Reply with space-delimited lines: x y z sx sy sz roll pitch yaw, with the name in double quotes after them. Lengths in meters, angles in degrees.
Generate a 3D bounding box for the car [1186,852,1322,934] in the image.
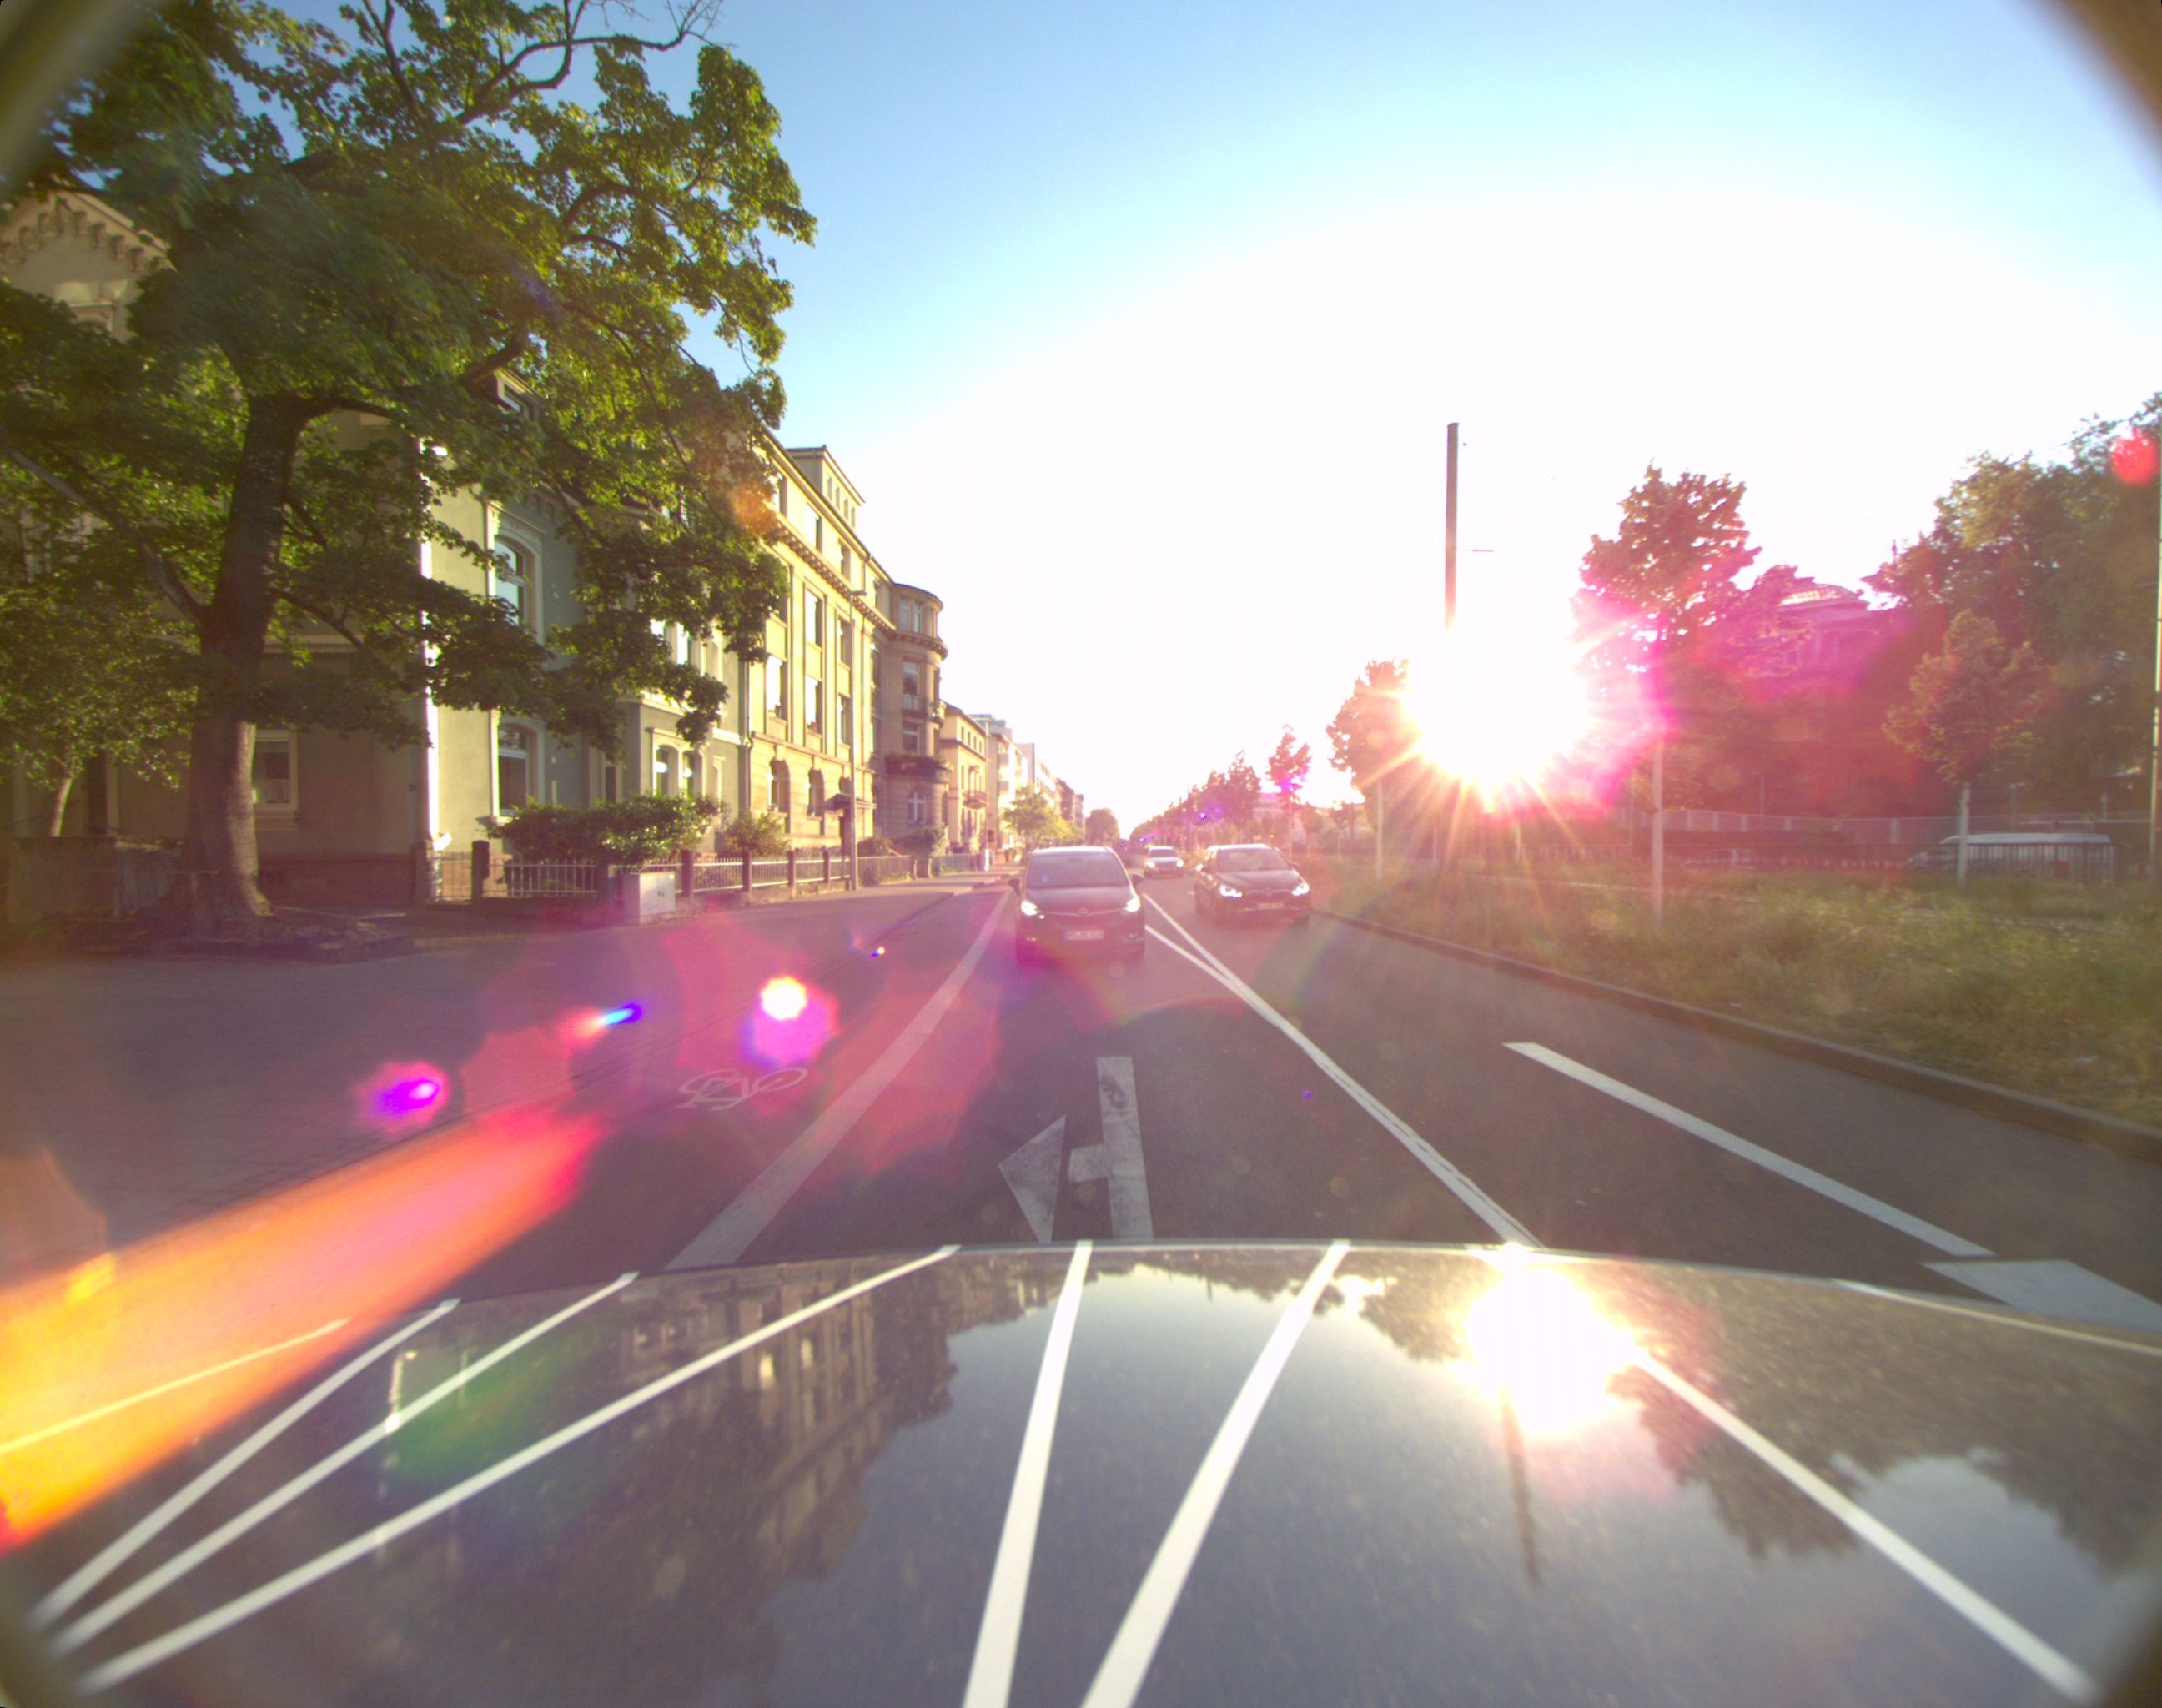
3.445 0.715 16.070 1.859 1.425 4.843 -2 0 2 "car"

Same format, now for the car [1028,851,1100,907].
-0.609 0.674 22.538 1.860 1.425 4.841 -2 0 -4 "car"

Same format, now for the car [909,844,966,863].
-11.414 -0.042 60.670 4.096 1.473 1.938 -1 1 2 "car"

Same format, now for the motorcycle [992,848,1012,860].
-8.018 -0.002 77.030 1.848 1.091 0.576 -1 1 7 "motorcycle"

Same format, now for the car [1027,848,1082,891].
-0.978 0.557 28.622 1.859 1.425 4.842 -2 0 -1 "car"

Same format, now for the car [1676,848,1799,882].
31.318 0.494 36.435 1.998 1.472 4.522 -2 0 1 "car"

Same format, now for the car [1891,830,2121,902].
30.754 0.392 25.556 1.998 2.155 4.752 -2 0 2 "car"

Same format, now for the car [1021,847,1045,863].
-4.337 0.092 69.729 1.882 1.394 4.100 -1 1 1 "car"

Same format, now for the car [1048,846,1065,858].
-3.150 -0.240 98.787 1.937 1.472 4.100 -1 1 1 "car"

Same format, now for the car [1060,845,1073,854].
-2.434 -0.806 128.536 1.937 1.472 4.100 -1 1 1 "car"

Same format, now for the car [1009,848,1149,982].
-0.158 0.761 12.174 1.771 1.649 4.850 -1 1 -3 "car"

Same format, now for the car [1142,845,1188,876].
4.094 0.318 37.799 1.859 1.425 4.843 -2 0 2 "car"
